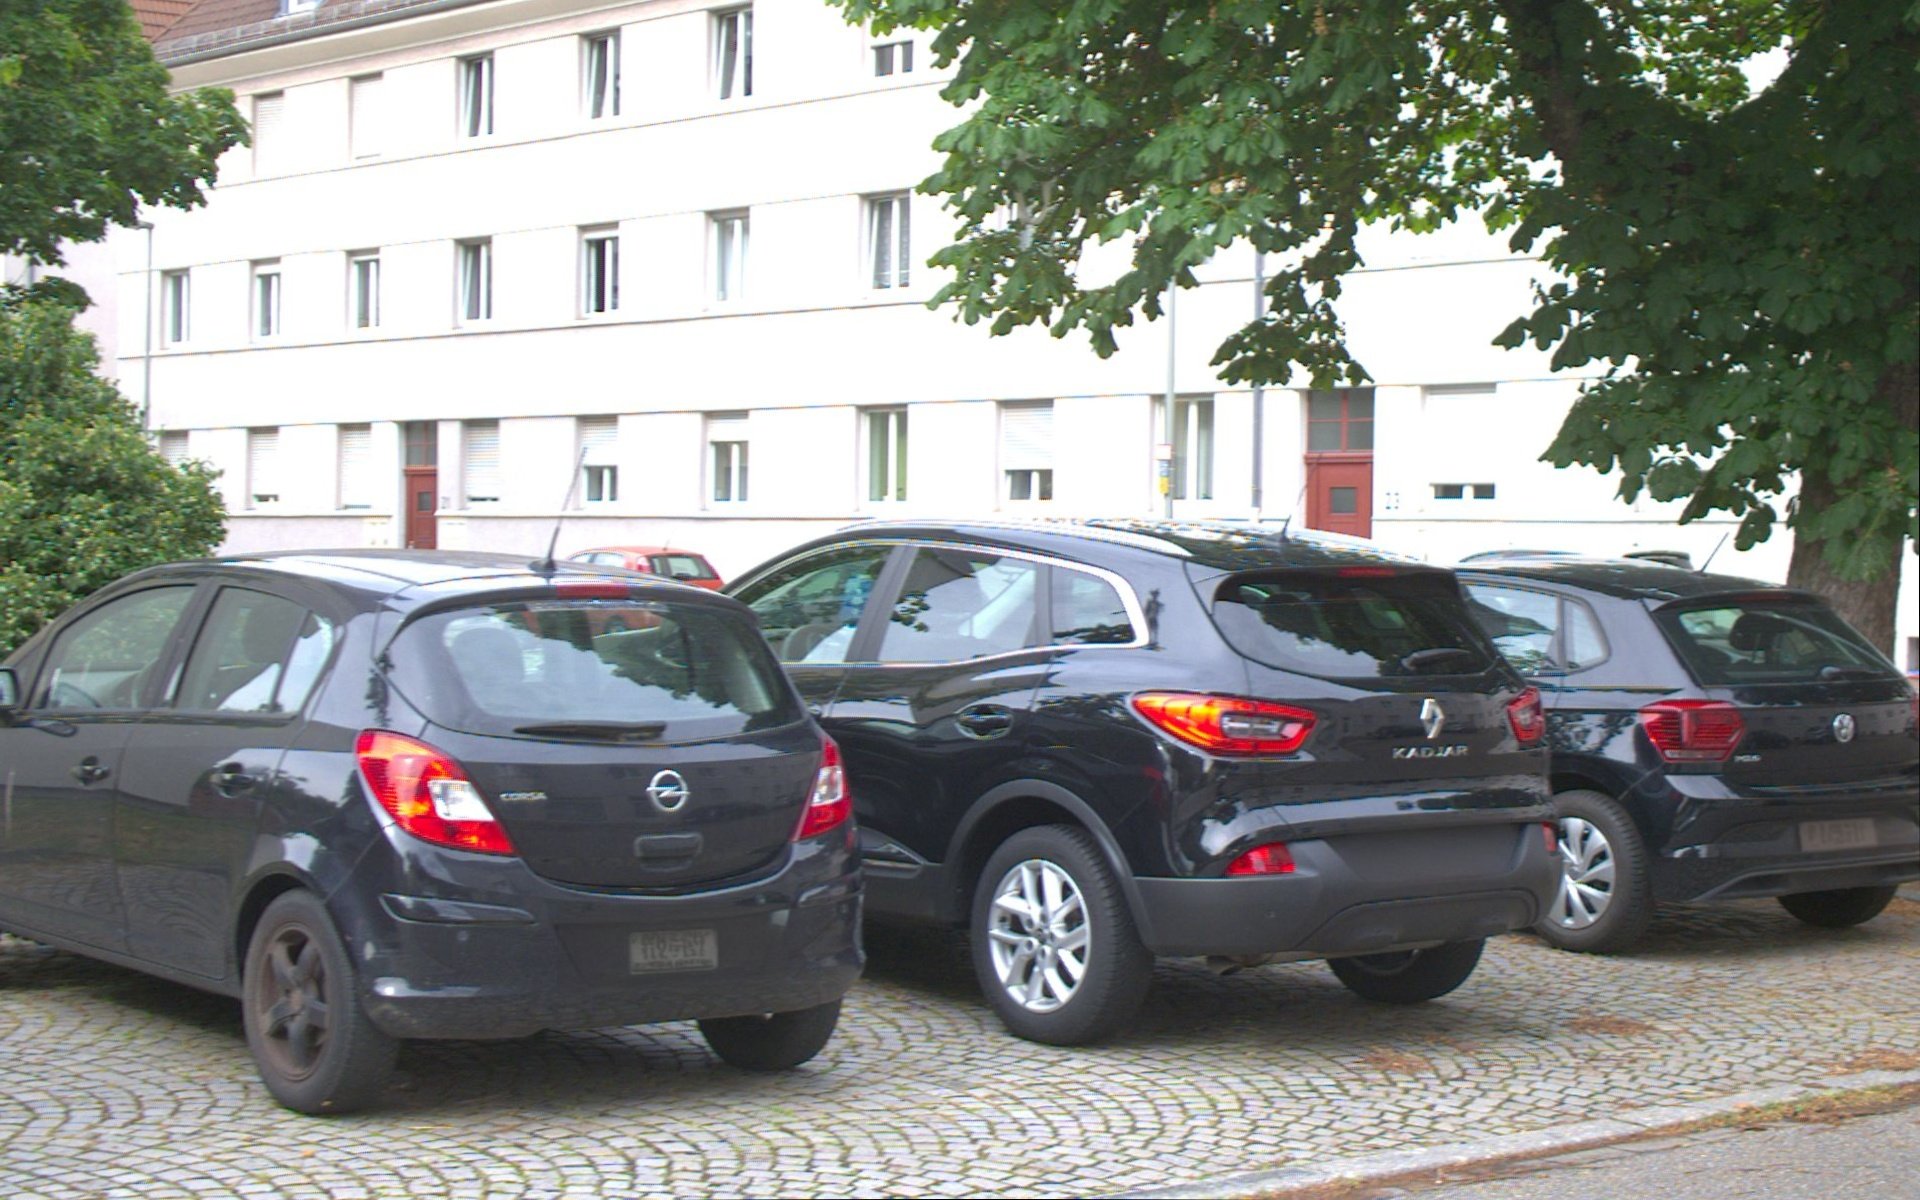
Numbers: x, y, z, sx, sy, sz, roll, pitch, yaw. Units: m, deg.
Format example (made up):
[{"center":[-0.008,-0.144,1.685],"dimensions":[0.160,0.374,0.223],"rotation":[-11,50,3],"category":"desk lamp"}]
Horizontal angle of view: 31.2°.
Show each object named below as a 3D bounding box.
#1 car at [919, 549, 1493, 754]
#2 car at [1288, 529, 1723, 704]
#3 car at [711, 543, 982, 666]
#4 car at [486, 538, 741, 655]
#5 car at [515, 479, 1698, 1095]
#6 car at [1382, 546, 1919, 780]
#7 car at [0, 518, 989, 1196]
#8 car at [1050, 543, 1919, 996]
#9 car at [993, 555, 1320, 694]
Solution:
[{"center":[1.929,0.386,28.475],"dimensions":[1.868,1.459,4.833],"rotation":[3,-1,-39],"category":"car"},{"center":[5.656,0.115,36.042],"dimensions":[1.843,1.668,4.287],"rotation":[-1,2,-42],"category":"car"},{"center":[-1.492,0.025,44.083],"dimensions":[1.567,1.468,3.695],"rotation":[0,1,-38],"category":"car"},{"center":[-4.875,-0.086,48.067],"dimensions":[1.697,1.520,3.824],"rotation":[-1,2,-40],"category":"car"},{"center":[0.321,0.479,11.899],"dimensions":[1.910,1.691,4.068],"rotation":[1,2,-37],"category":"car"},{"center":[4.863,0.420,24.562],"dimensions":[1.525,1.488,3.591],"rotation":[3,-1,-38],"category":"car"},{"center":[-1.977,0.577,10.572],"dimensions":[1.836,1.560,4.356],"rotation":[1,2,-37],"category":"car"},{"center":[2.299,0.567,14.225],"dimensions":[1.825,1.572,3.841],"rotation":[0,1,-38],"category":"car"},{"center":[2.229,0.245,39.818],"dimensions":[1.567,1.473,3.869],"rotation":[0,2,-39],"category":"car"}]
